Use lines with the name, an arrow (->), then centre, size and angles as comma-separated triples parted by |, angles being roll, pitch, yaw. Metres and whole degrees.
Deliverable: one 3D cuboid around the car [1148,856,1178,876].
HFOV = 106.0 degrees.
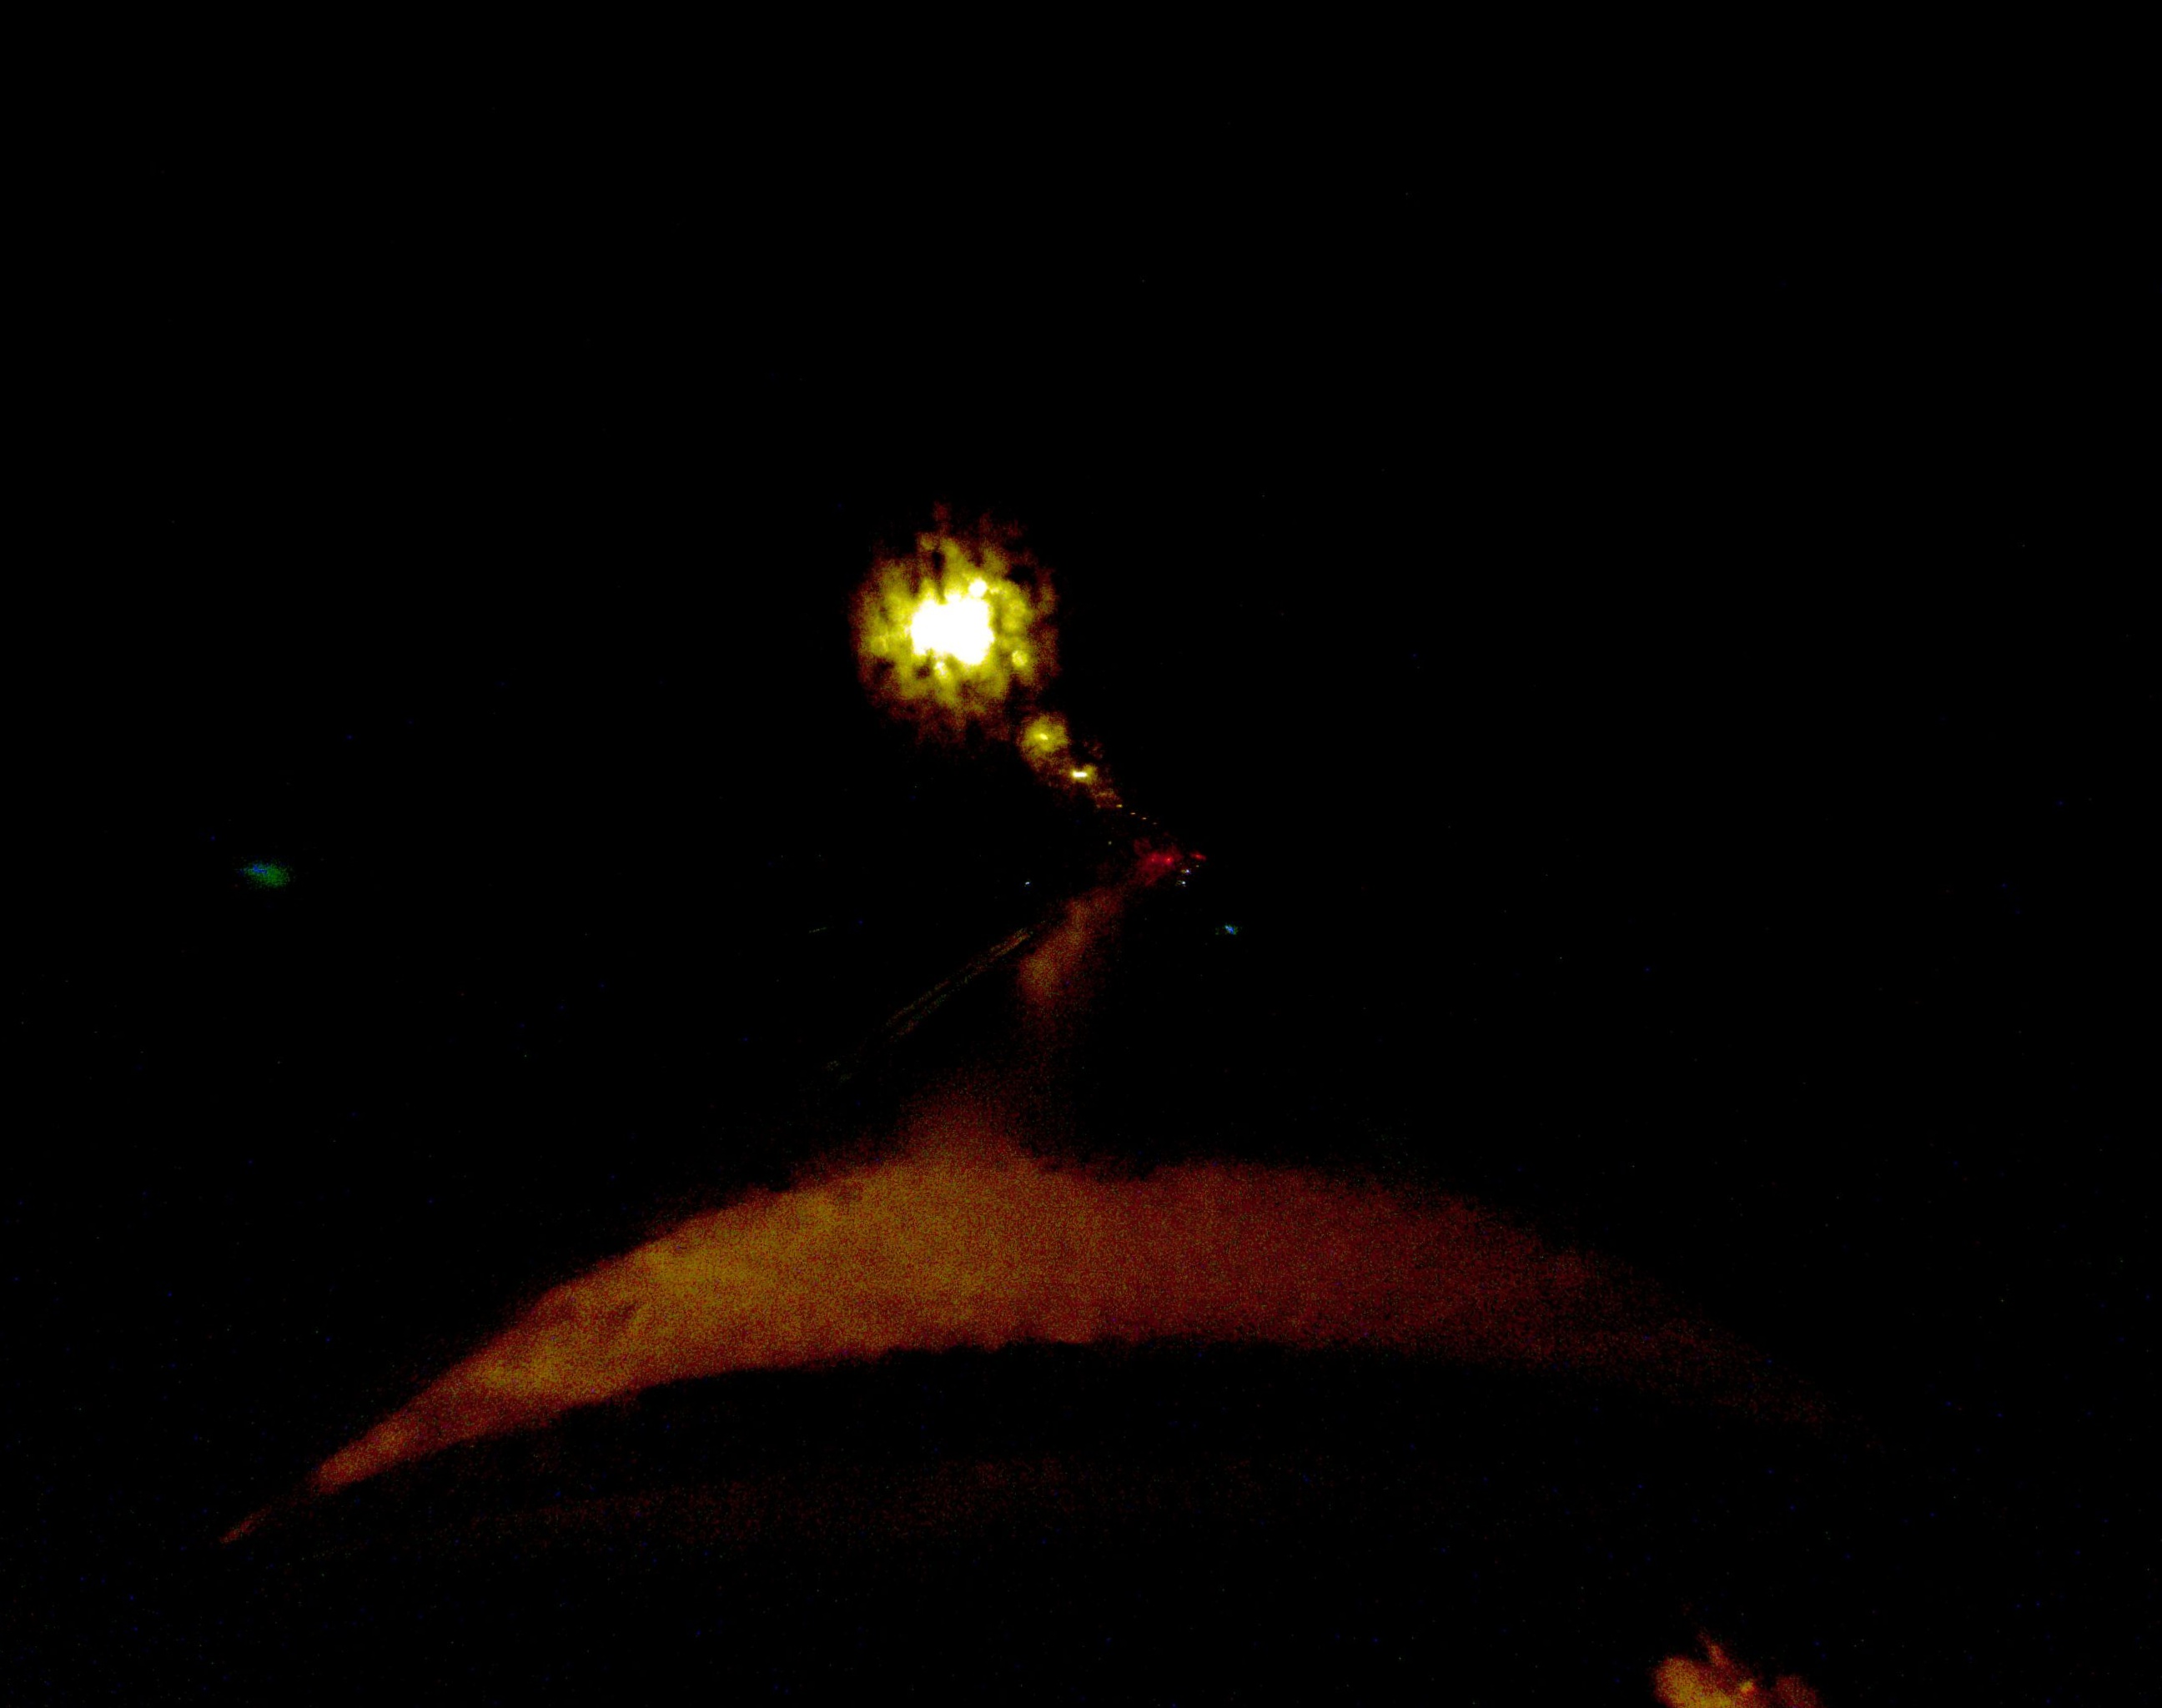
car -> 7.208, 1.057, 71.340 | 2.075, 1.662, 4.014 | 0, -1, 13
